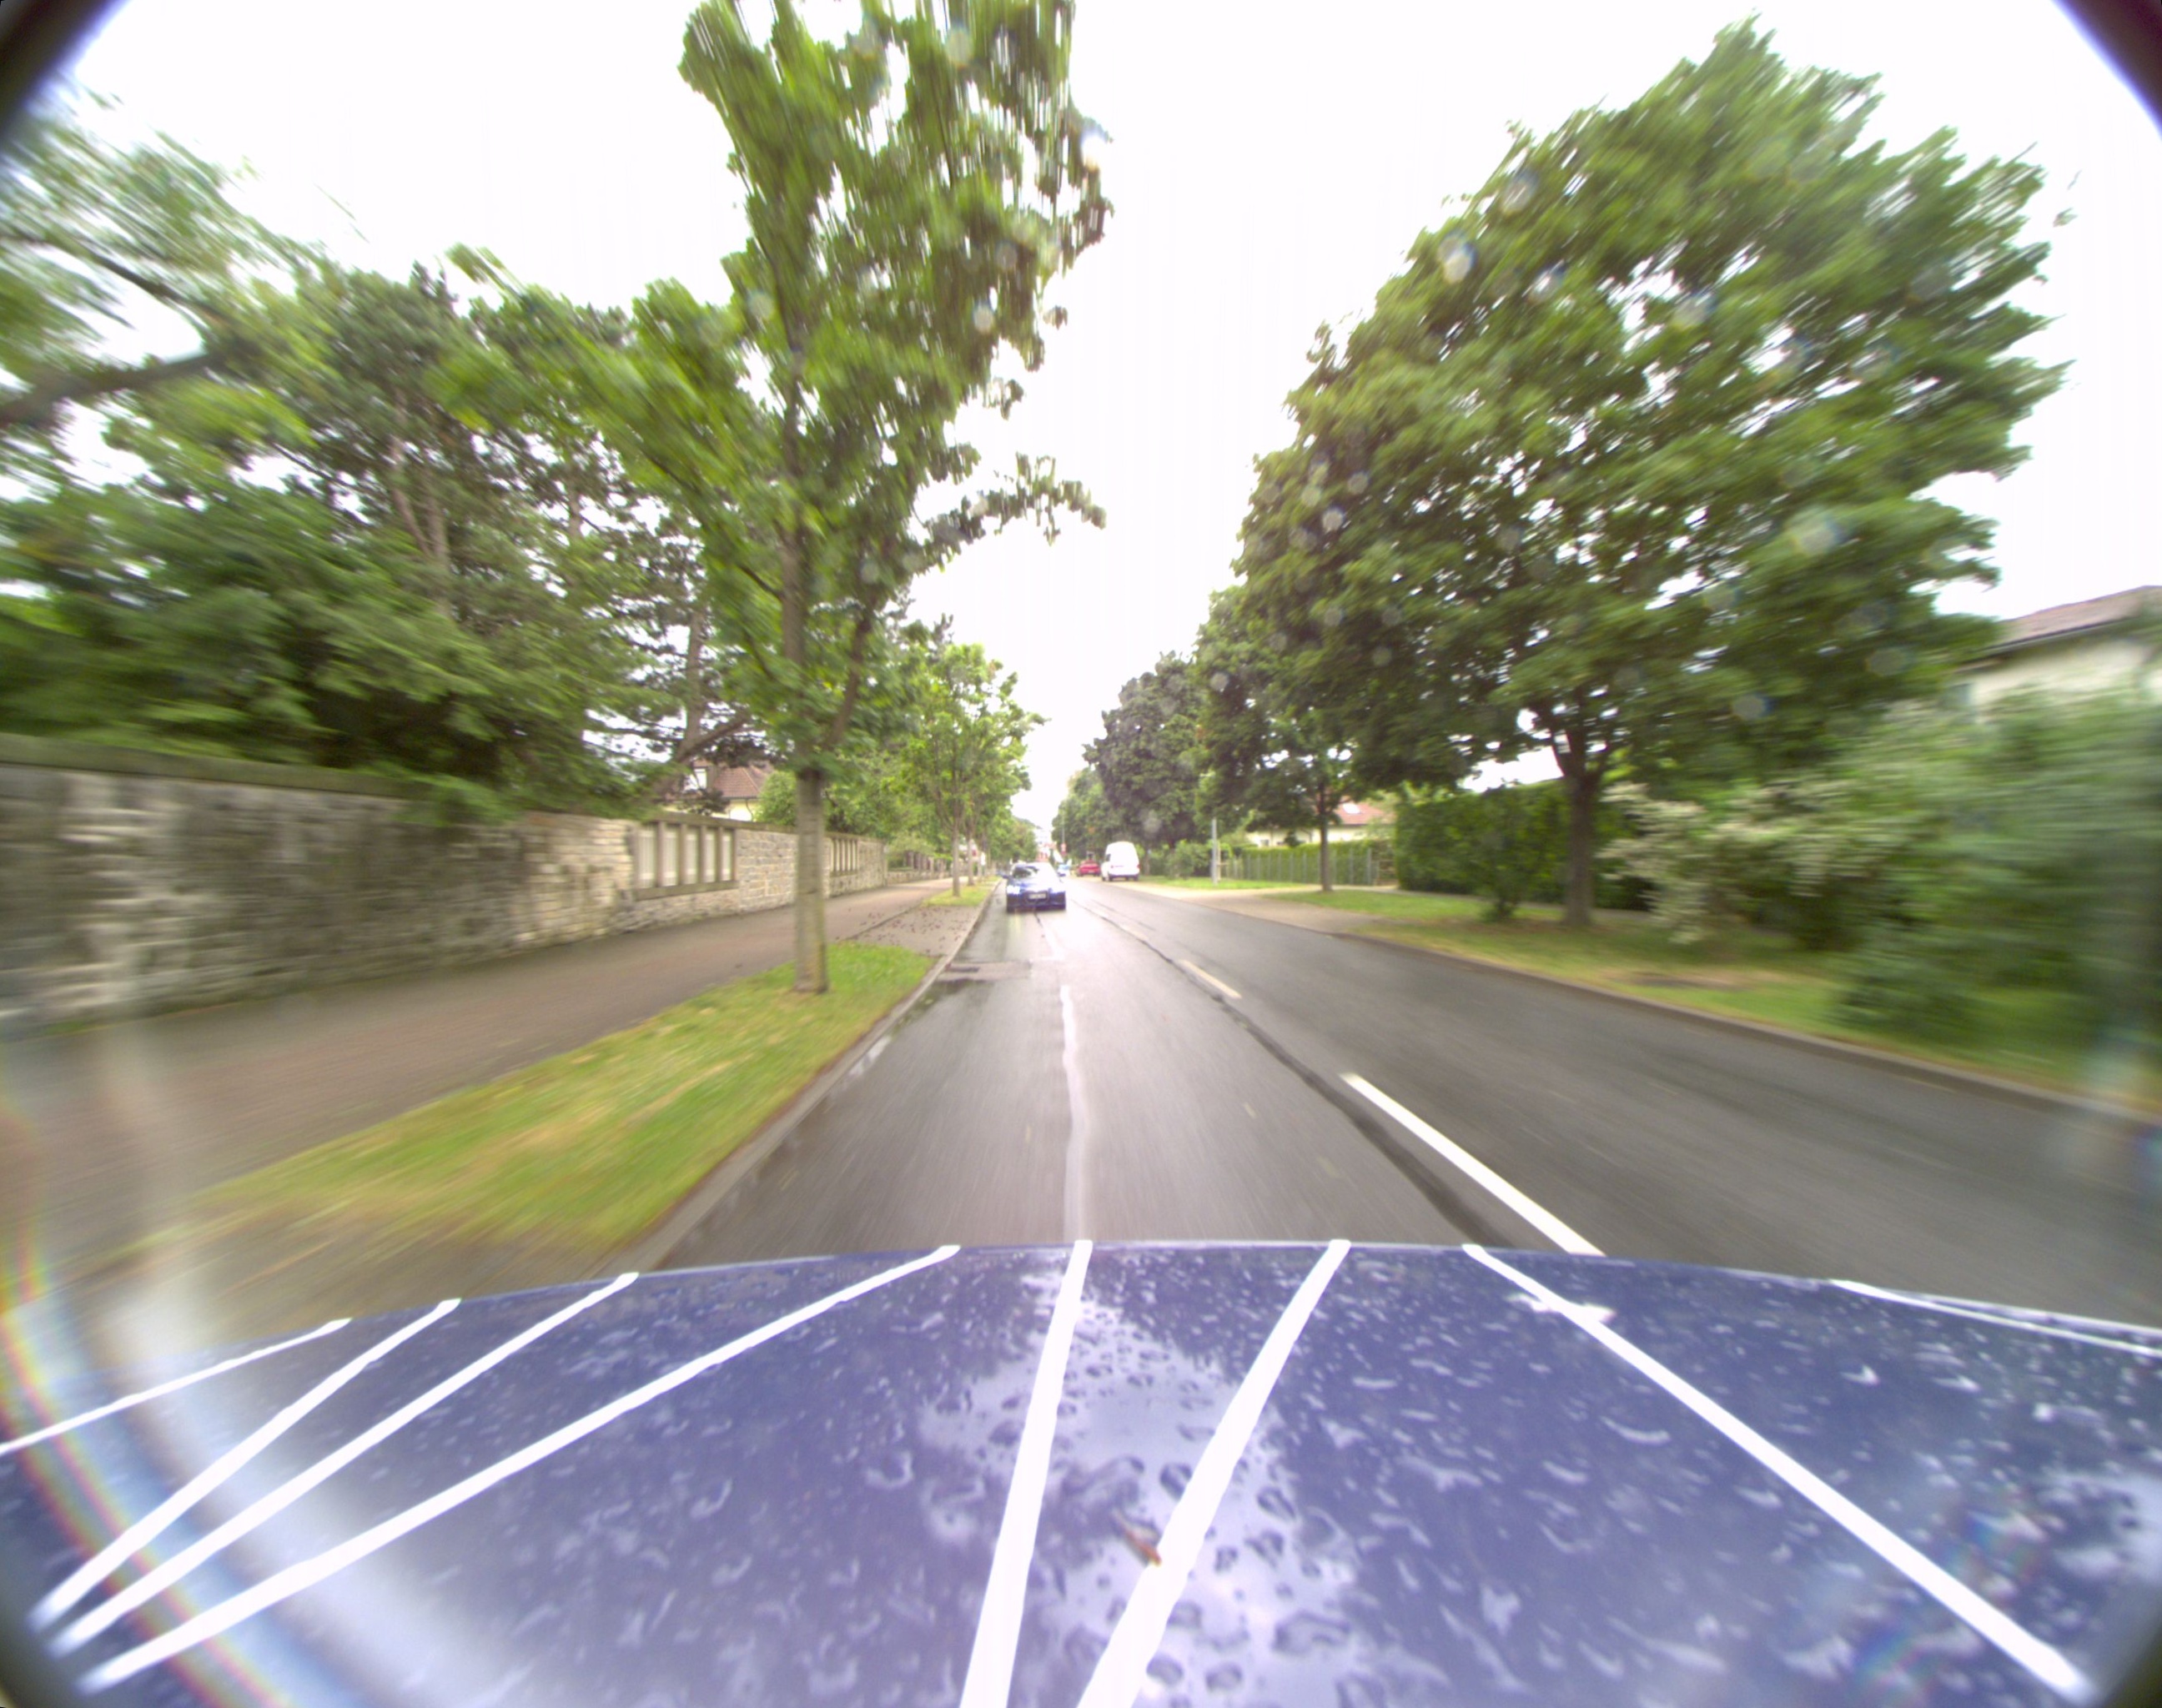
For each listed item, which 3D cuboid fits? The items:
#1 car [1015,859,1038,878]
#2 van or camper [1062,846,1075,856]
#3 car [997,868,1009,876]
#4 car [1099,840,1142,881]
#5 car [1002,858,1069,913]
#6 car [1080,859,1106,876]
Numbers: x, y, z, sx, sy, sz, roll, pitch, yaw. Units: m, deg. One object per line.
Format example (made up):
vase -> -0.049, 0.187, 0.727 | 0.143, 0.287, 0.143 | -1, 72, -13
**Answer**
car -> -4.330, 1.173, 61.145 | 1.657, 1.443, 4.000 | -3, -1, -3
van or camper -> -3.172, -0.769, 196.989 | 2.147, 2.593, 5.787 | 0, 0, 11
car -> -12.403, 2.878, 121.302 | 1.646, 1.369, 3.829 | 1, -1, -1
car -> 2.540, 0.450, 50.277 | 2.000, 2.546, 5.230 | -1, 0, -6
car -> -1.570, 0.996, 24.747 | 1.896, 1.531, 3.999 | -3, -1, -7
car -> 1.041, 1.181, 68.096 | 1.849, 1.457, 4.248 | -2, -1, -6
